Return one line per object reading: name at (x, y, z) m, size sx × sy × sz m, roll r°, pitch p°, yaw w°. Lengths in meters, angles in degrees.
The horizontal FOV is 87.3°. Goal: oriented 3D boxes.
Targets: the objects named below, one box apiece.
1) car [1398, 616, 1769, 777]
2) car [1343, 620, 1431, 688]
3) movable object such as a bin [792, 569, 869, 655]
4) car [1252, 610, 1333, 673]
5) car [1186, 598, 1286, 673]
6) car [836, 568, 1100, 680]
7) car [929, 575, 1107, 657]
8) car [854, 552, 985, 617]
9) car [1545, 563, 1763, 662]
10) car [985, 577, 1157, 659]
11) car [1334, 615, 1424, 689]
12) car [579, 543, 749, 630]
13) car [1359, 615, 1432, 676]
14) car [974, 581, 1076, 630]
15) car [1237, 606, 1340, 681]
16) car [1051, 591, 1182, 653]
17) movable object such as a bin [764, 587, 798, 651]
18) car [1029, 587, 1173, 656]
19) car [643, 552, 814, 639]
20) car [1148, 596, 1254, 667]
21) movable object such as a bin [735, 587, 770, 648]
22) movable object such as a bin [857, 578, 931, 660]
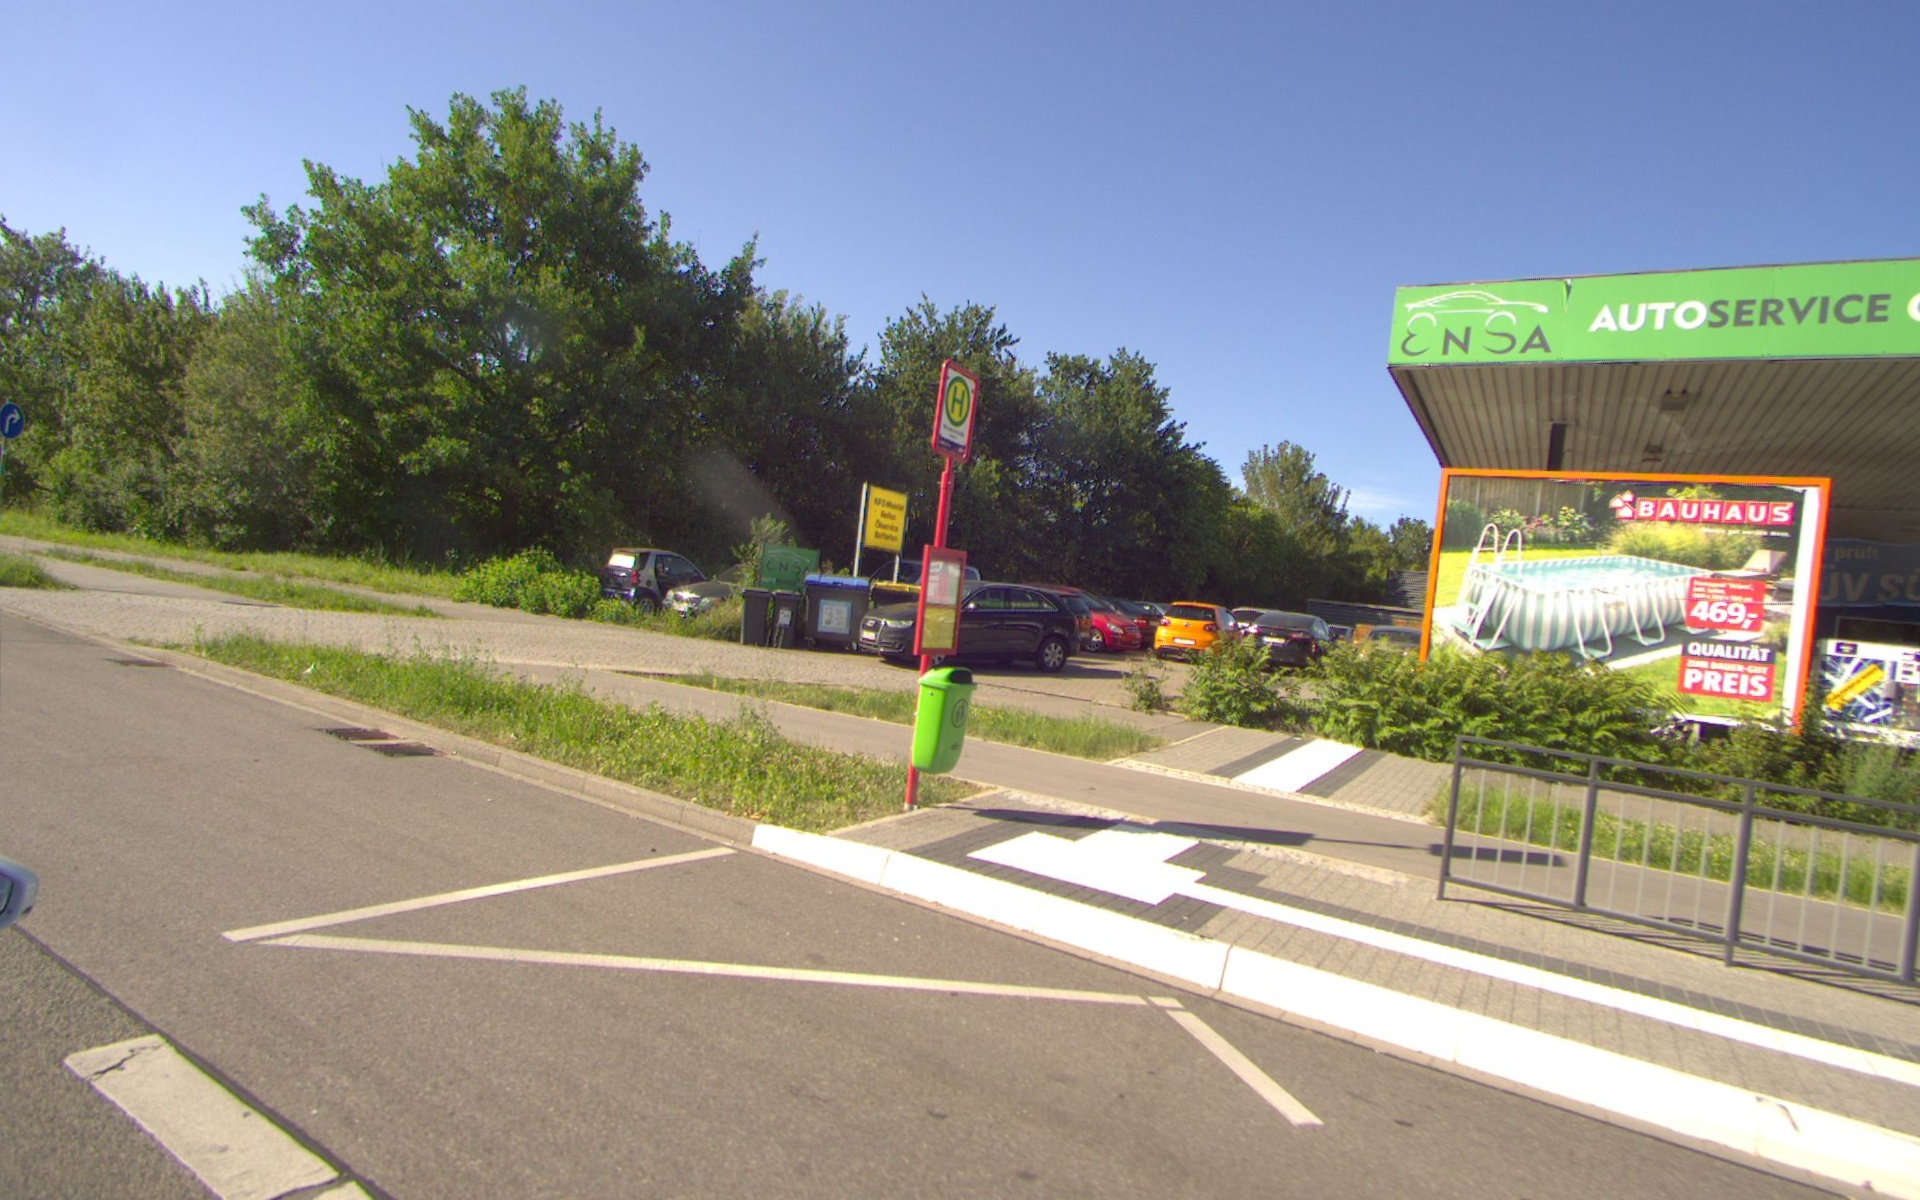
car at (8.802, 1.302, 14.548) m, size 4.179 × 1.592 × 1.746 m, roll 7°, pitch 0°, yaw 33°
car at (10.986, 1.375, 25.727) m, size 1.682 × 1.435 × 3.994 m, roll 6°, pitch 0°, yaw 27°
movable object such as a bin at (-2.489, 0.226, 19.281) m, size 1.240 × 1.446 × 0.987 m, roll 7°, pitch 0°, yaw -11°
car at (11.969, 1.529, 36.070) m, size 1.965 × 1.803 × 3.998 m, roll 6°, pitch -2°, yaw 28°
car at (8.478, 1.130, 30.688) m, size 1.965 × 1.803 × 3.998 m, roll 6°, pitch -2°, yaw 28°
car at (0.193, 0.465, 18.649) m, size 4.506 × 1.662 × 1.787 m, roll 4°, pitch 2°, yaw -29°
car at (1.390, 0.390, 24.559) m, size 3.851 × 1.481 × 1.727 m, roll 6°, pitch -2°, yaw 32°
car at (-1.113, -0.410, 29.378) m, size 1.706 × 1.551 × 4.037 m, roll 6°, pitch 1°, yaw 33°
car at (15.333, 0.274, 22.473) m, size 3.716 × 1.777 × 1.920 m, roll 6°, pitch 0°, yaw 32°
car at (2.938, 0.468, 26.819) m, size 4.067 × 1.626 × 1.717 m, roll 6°, pitch -2°, yaw 32°
car at (12.602, 1.592, 30.145) m, size 1.965 × 1.803 × 3.998 m, roll 6°, pitch -2°, yaw 28°
car at (-6.730, -0.271, 23.129) m, size 1.743 × 1.503 × 3.289 m, roll 6°, pitch -2°, yaw 33°
car at (16.048, 1.711, 36.950) m, size 1.965 × 1.803 × 4.522 m, roll 6°, pitch -2°, yaw 28°
car at (2.316, 0.229, 34.896) m, size 1.706 × 1.404 × 4.037 m, roll 6°, pitch 1°, yaw 33°
car at (8.224, 1.089, 24.982) m, size 1.705 × 1.535 × 3.994 m, roll 6°, pitch 0°, yaw 27°
car at (4.925, 0.680, 31.821) m, size 3.643 × 1.481 × 1.611 m, roll 6°, pitch -2°, yaw 32°
movable object such as a bin at (-3.415, 0.356, 19.191) m, size 0.501 × 1.134 × 0.581 m, roll 7°, pitch 0°, yaw -10°
car at (4.044, 0.616, 29.025) m, size 3.643 × 1.481 × 1.611 m, roll 6°, pitch -2°, yaw 32°
car at (-4.982, -0.061, 22.028) m, size 1.700 × 1.433 × 3.289 m, roll 6°, pitch -2°, yaw 33°
car at (6.329, 0.853, 26.134) m, size 1.668 × 1.535 × 3.994 m, roll 6°, pitch 0°, yaw 27°
movable object such as a bin at (-3.905, 0.323, 18.969) m, size 0.501 × 1.088 × 0.581 m, roll 7°, pitch 0°, yaw -10°
movable object such as a bin at (-1.318, 0.372, 19.933) m, size 1.204 × 1.446 × 0.987 m, roll 7°, pitch 0°, yaw -11°
